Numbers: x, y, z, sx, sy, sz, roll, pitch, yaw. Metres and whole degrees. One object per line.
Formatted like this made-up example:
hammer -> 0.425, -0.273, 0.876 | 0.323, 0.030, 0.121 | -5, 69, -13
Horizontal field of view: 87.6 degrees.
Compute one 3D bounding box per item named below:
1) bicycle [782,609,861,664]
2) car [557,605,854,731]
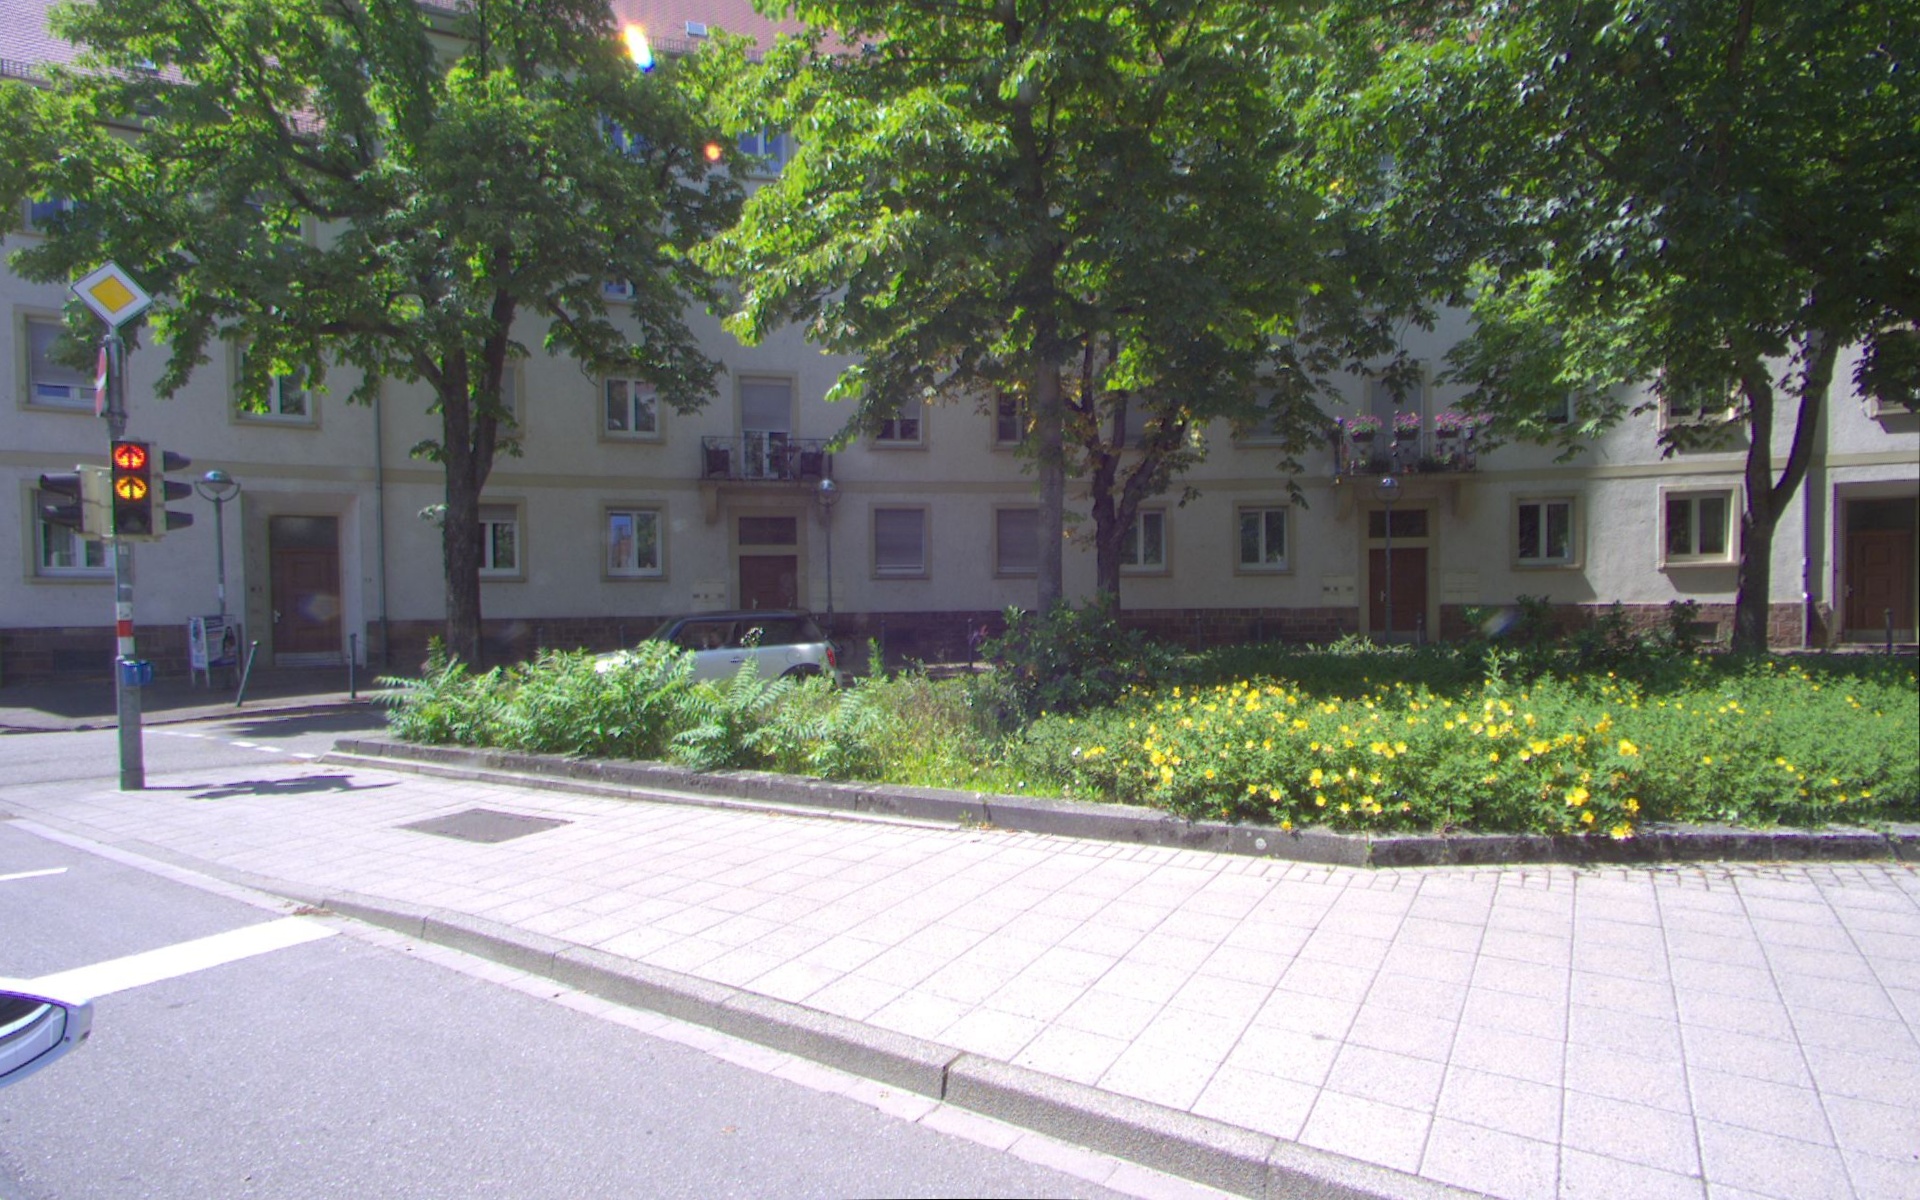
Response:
bicycle -> -2.876, 0.757, 20.864 | 1.575, 1.119, 0.525 | -1, 1, -4
car -> -3.316, 0.839, 13.339 | 3.585, 1.526, 1.703 | 0, 0, -14
